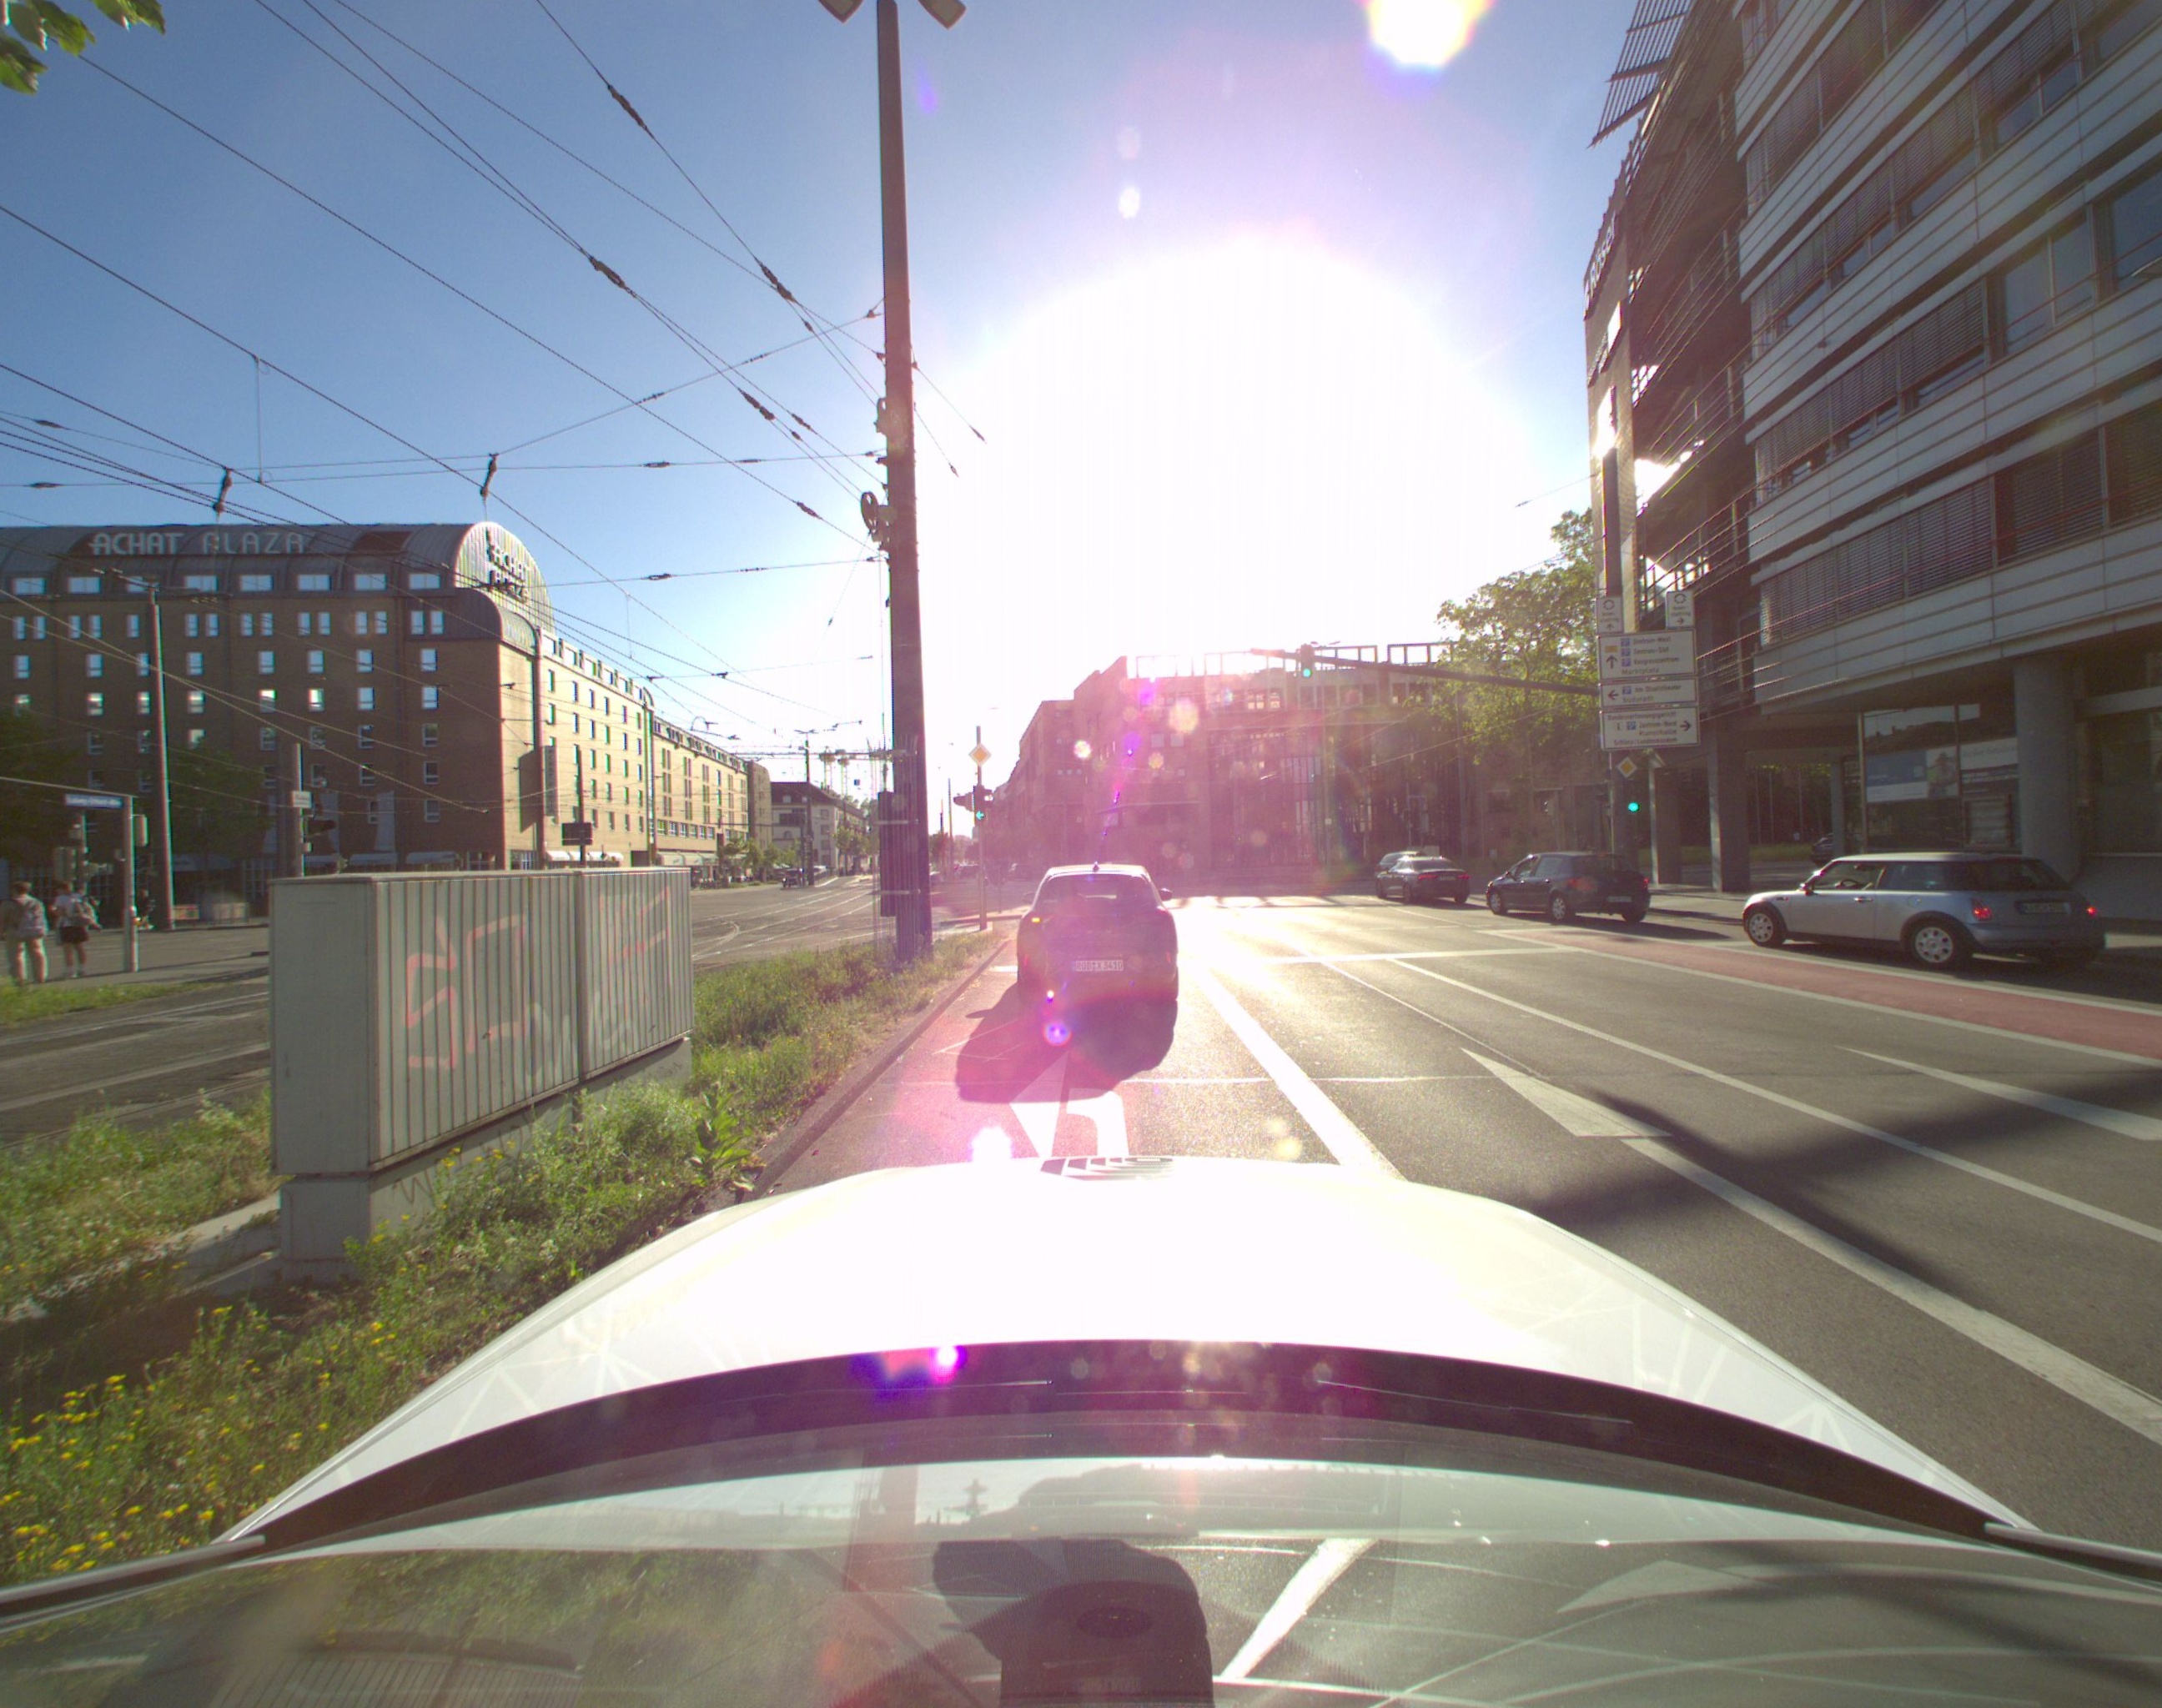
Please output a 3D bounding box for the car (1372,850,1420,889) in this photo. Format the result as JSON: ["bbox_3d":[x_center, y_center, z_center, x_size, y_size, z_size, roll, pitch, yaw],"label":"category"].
[{"bbox_3d":[12.910,0.595,33.250,1.680,1.475,4.003,-2,0,23],"label":"car"}]

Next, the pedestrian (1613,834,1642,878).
[{"bbox_3d":[21.651,0.070,32.280,0.786,1.734,0.588,-1,-1,9],"label":"pedestrian"}]

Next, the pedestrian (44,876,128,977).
[{"bbox_3d":[-19.203,1.374,15.737,0.729,1.869,0.673,-2,0,-2],"label":"pedestrian"}]

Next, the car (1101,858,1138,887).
[{"bbox_3d":[2.025,0.964,43.608,1.557,1.456,3.425,-2,0,-5],"label":"car"}]

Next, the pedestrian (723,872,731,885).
[{"bbox_3d":[-50.343,3.443,115.796,0.716,1.764,0.564,-3,0,-7],"label":"pedestrian"}]

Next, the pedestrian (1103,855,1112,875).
[{"bbox_3d":[2.477,1.038,76.494,0.640,1.786,0.686,-3,-1,-12],"label":"pedestrian"}]

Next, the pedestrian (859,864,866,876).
[{"bbox_3d":[-30.988,2.243,115.721,0.863,1.670,0.779,-1,0,-20],"label":"pedestrian"}]

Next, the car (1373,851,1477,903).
[{"bbox_3d":[10.687,0.690,25.605,1.688,1.440,4.021,-1,-1,2],"label":"car"}]

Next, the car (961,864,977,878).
[{"bbox_3d":[-12.748,1.899,92.817,1.720,1.453,3.686,-3,0,-9],"label":"car"}]

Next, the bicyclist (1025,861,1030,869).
[{"bbox_3d":[-8.435,1.723,128.516,0.645,1.339,0.651,-2,-1,-8],"label":"bicyclist"}]

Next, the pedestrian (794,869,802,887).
[{"bbox_3d":[-24.959,2.112,71.858,0.583,1.577,0.642,-2,-1,-23],"label":"pedestrian"}]

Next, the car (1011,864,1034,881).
[{"bbox_3d":[-5.345,1.683,74.132,1.671,1.453,3.686,-3,0,-9],"label":"car"}]

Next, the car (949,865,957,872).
[{"bbox_3d":[-26.570,3.054,168.975,1.516,1.453,3.570,-3,0,-11],"label":"car"}]

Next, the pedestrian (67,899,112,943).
[{"bbox_3d":[-40.564,2.717,33.334,0.711,1.680,0.832,-2,1,2],"label":"pedestrian"}]

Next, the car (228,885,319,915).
[{"bbox_3d":[-48.193,2.744,48.623,3.834,1.601,1.616,-2,0,2],"label":"car"}]

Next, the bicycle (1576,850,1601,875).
[{"bbox_3d":[22.757,0.371,36.521,0.658,1.018,2.199,-1,2,39],"label":"bicycle"}]

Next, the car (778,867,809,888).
[{"bbox_3d":[-27.998,2.258,79.352,1.837,1.836,4.098,-4,0,-6],"label":"car"}]

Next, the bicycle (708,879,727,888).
[{"bbox_3d":[-42.695,3.484,95.629,2.026,0.921,0.483,-3,0,1],"label":"bicycle"}]

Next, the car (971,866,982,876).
[{"bbox_3d":[-16.666,2.662,129.811,1.720,1.453,3.686,-3,0,-9],"label":"car"}]

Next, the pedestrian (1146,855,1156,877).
[{"bbox_3d":[5.779,0.957,67.175,0.573,1.786,0.546,-3,-1,-17],"label":"pedestrian"}]

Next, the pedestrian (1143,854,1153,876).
[{"bbox_3d":[5.556,0.932,67.948,0.573,1.786,0.546,-3,-1,-17],"label":"pedestrian"}]

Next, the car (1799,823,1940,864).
[{"bbox_3d":[32.586,-0.420,33.757,3.948,1.475,1.869,-2,0,3],"label":"car"}]

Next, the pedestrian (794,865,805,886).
[{"bbox_3d":[-24.159,1.822,69.816,0.720,1.727,0.593,-2,0,-8],"label":"pedestrian"}]

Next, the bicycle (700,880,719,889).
[{"bbox_3d":[-43.098,3.500,94.458,2.026,0.921,0.483,-3,0,1],"label":"bicycle"}]

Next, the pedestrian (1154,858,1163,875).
[{"bbox_3d":[6.668,1.056,69.889,0.550,1.477,0.568,-2,0,-27],"label":"pedestrian"}]

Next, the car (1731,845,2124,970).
[{"bbox_3d":[11.010,0.612,11.000,1.655,1.389,3.537,-1,0,1],"label":"car"}]

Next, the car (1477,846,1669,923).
[{"bbox_3d":[10.786,0.621,18.244,1.855,1.475,3.976,-2,0,0],"label":"car"}]

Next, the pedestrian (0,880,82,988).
[{"bbox_3d":[-19.015,1.439,14.823,0.729,1.869,0.699,-2,0,1],"label":"pedestrian"}]

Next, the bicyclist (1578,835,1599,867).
[{"bbox_3d":[22.814,-0.119,36.615,0.658,1.407,0.821,-1,1,39],"label":"bicyclist"}]

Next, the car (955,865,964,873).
[{"bbox_3d":[-23.074,2.849,154.585,1.516,1.453,3.570,-3,0,-11],"label":"car"}]

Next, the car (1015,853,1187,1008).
[{"bbox_3d":[0.255,0.754,9.831,1.665,1.502,3.692,-1,0,2],"label":"car"}]

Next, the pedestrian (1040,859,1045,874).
[{"bbox_3d":[-4.819,1.517,101.093,0.547,1.786,0.572,-2,2,-7],"label":"pedestrian"}]

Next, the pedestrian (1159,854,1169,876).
[{"bbox_3d":[6.964,0.922,68.658,0.573,1.786,0.546,-3,-1,-17],"label":"pedestrian"}]
